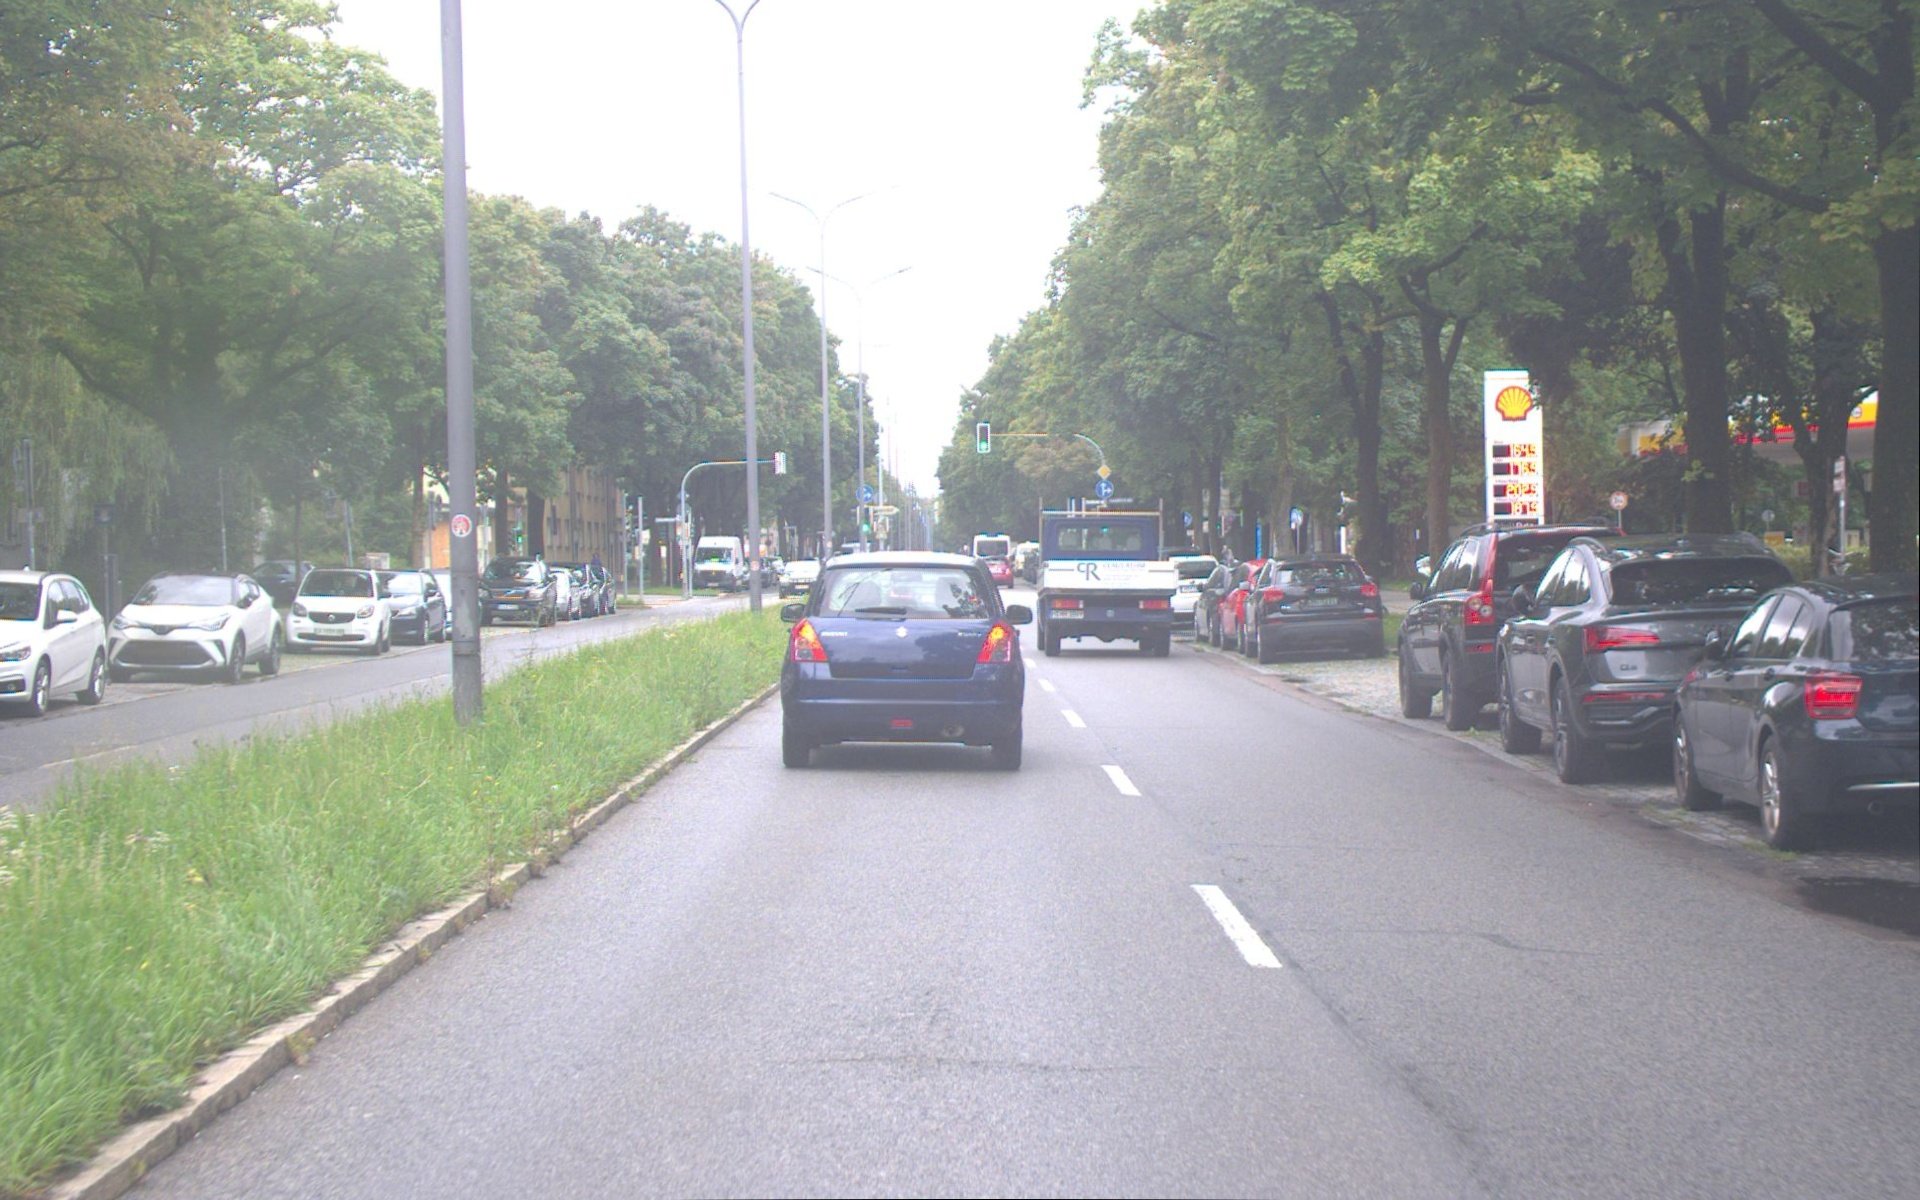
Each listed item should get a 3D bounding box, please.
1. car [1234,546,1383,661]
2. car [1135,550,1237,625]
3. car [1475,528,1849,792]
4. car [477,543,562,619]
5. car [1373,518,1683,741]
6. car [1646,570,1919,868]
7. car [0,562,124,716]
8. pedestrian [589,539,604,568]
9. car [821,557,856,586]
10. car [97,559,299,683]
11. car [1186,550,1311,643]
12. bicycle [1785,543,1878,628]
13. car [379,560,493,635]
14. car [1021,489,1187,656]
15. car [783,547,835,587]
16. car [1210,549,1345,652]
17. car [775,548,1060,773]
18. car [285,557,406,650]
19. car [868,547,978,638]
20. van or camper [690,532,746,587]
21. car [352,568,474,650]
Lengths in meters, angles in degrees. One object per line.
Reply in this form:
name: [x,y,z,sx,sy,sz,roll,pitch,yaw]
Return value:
car: [5.033,0.019,50.083,1.779,1.506,4.285,-3,1,2]
car: [4.777,-0.295,73.217,1.760,1.449,4.633,-3,1,0]
car: [4.929,0.349,24.775,1.813,1.670,4.799,-2,1,2]
car: [-10.995,-0.509,86.037,1.796,1.757,5.059,2,1,-4]
car: [4.989,0.204,30.841,1.892,1.794,4.861,-2,1,0]
car: [5.102,0.577,19.409,1.702,1.403,4.512,-2,1,2]
car: [-10.905,0.388,39.098,1.757,1.589,4.490,1,1,-1]
pedestrian: [-18.443,-2.349,174.320,0.629,1.435,0.806,1,0,0]
car: [-6.301,-1.479,178.547,1.737,1.437,4.103,-2,1,-1]
car: [-10.795,0.259,48.998,1.832,1.604,4.491,1,1,0]
car: [4.905,-0.090,58.970,1.675,1.449,4.582,-3,1,0]
bicycle: [12.515,-0.221,49.435,0.748,1.179,2.247,-1,1,0]
car: [-11.030,-0.078,72.579,1.674,1.438,4.320,2,1,0]
car: [2.178,-0.444,53.120,2.419,2.436,5.086,0,1,1]
car: [-5.771,-1.275,131.764,1.739,1.435,4.215,-1,1,0]
car: [5.002,-0.020,54.546,1.675,1.496,4.021,-3,1,0]
car: [-0.384,0.379,24.902,1.896,1.494,3.660,0,1,-3]
car: [-11.069,0.044,62.056,1.690,1.560,3.080,2,1,-2]
car: [-0.635,-0.155,59.431,1.799,1.494,3.660,-1,1,0]
van or camper: [-11.296,-1.935,160.927,2.140,2.467,6.259,-2,1,0]
car: [-10.705,0.151,67.480,1.674,1.470,4.215,2,1,0]
